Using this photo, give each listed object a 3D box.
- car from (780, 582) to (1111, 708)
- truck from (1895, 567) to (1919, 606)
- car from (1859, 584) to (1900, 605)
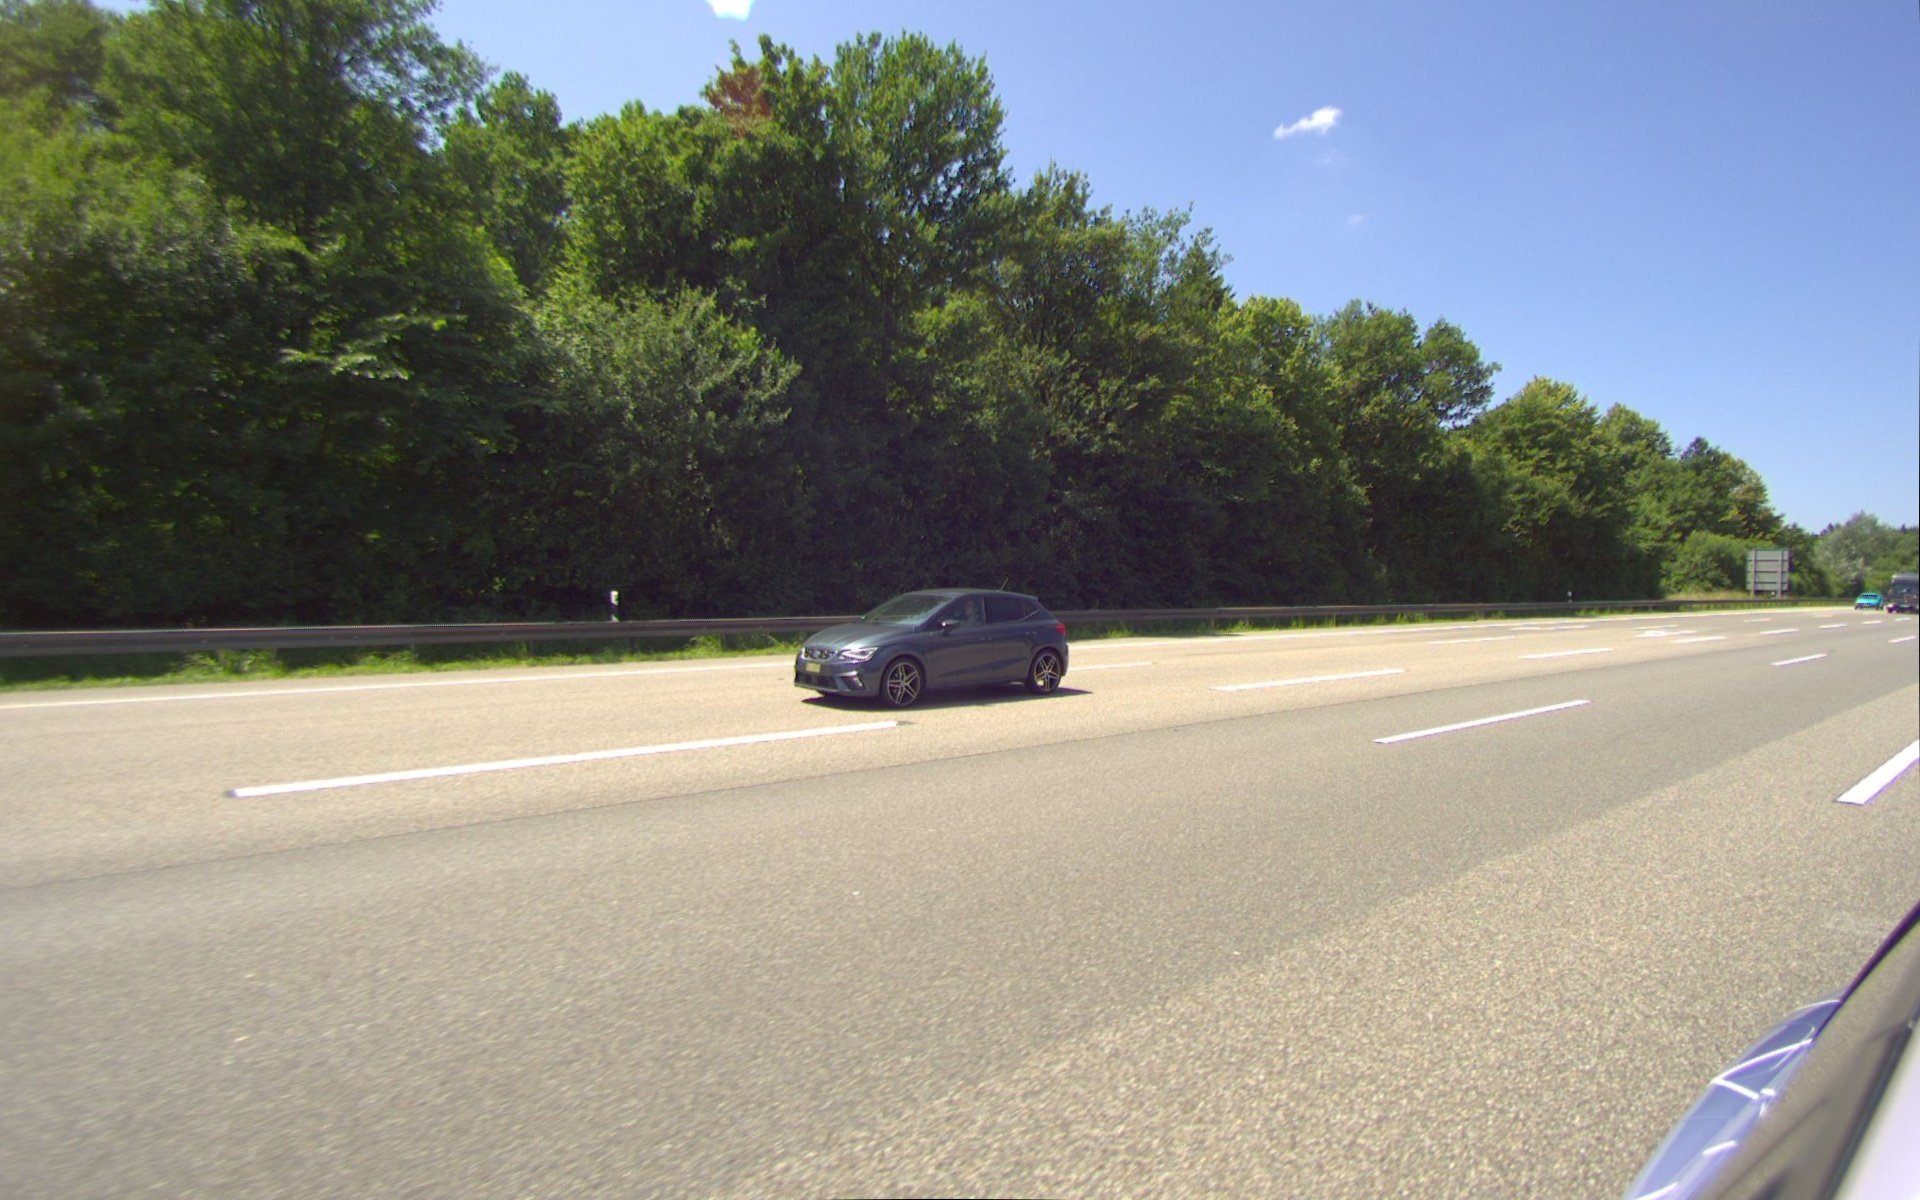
[{"bbox_3d":[-0.056,0.501,13.793,4.555,1.457,1.645,-1,0,-41],"label":"car"},{"bbox_3d":[76.164,-1.026,79.282,10.689,2.891,2.660,0,2,-39],"label":"truck"},{"bbox_3d":[78.990,-0.523,86.943,4.053,1.701,1.999,0,3,-39],"label":"car"}]
